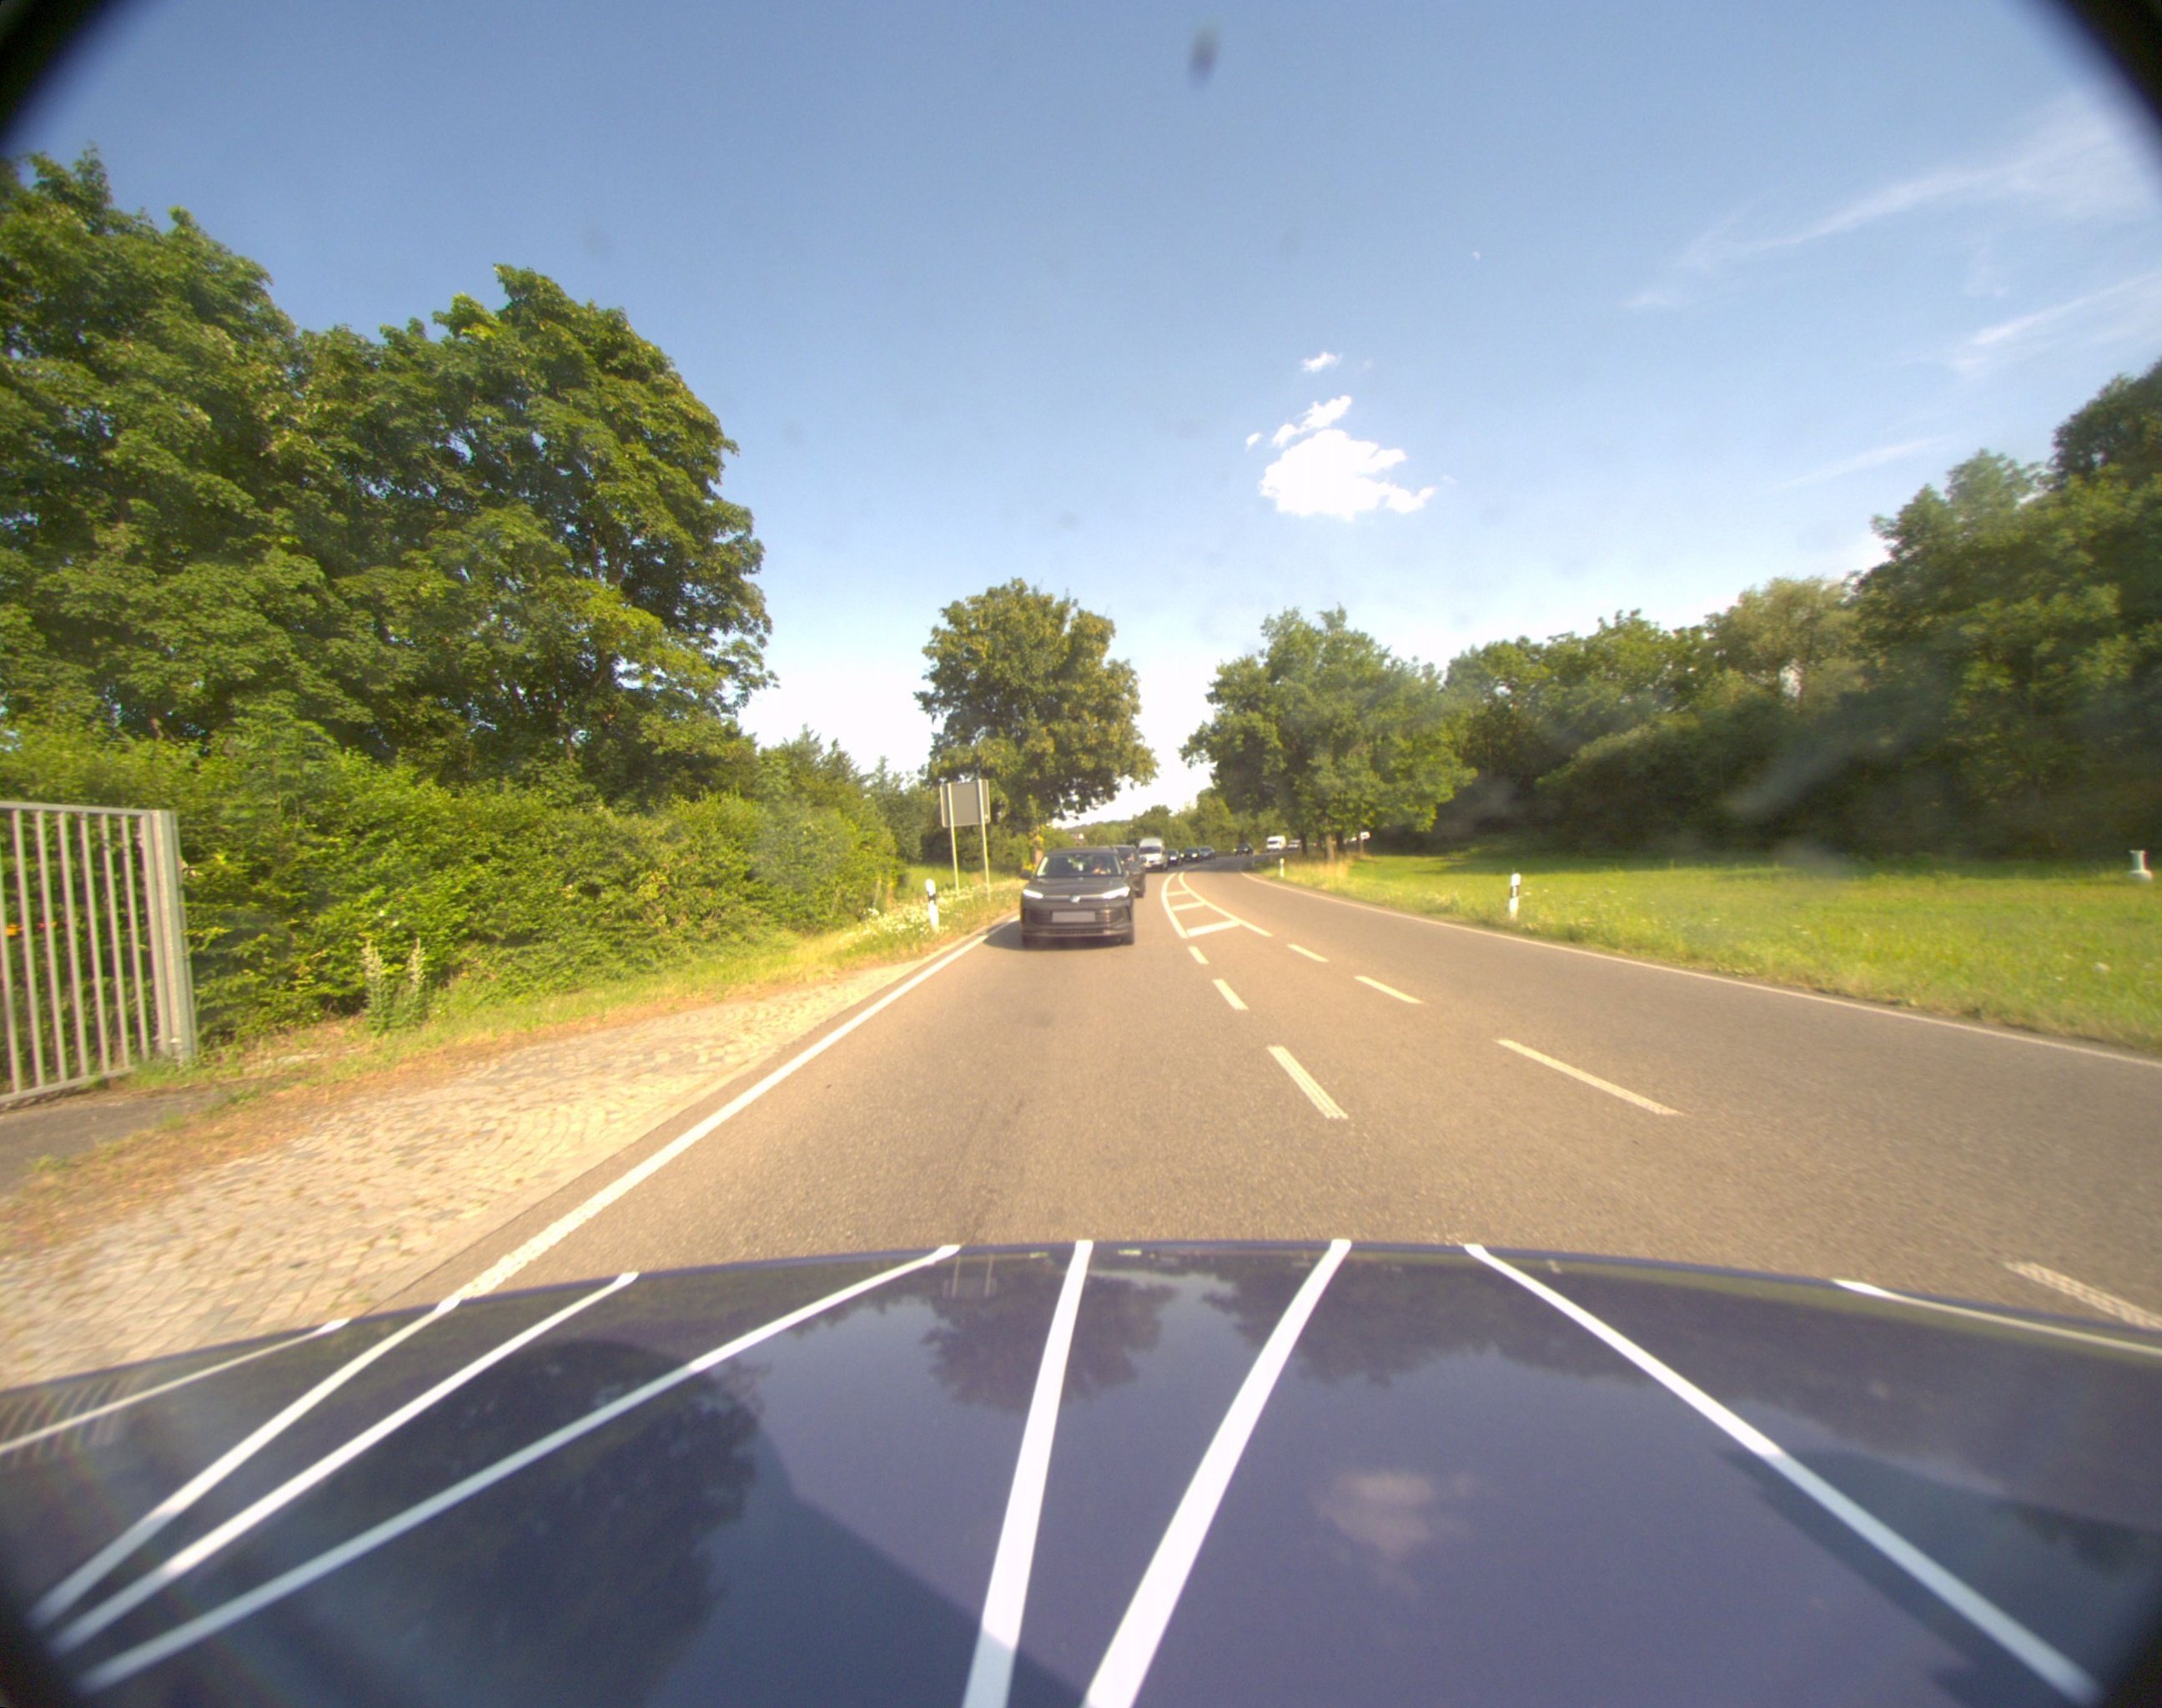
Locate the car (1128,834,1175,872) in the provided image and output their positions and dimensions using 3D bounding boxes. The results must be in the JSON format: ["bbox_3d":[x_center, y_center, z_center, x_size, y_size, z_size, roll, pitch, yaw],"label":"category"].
[{"bbox_3d":[4.907,-0.131,52.181,2.086,2.403,5.147,-2,1,17],"label":"car"}]

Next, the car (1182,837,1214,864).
[{"bbox_3d":[11.686,-0.393,75.603,2.085,2.403,5.148,-2,1,21],"label":"car"}]

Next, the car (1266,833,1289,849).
[{"bbox_3d":[31.741,-2.146,122.551,2.084,2.403,5.151,-1,2,32],"label":"car"}]

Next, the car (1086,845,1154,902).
[{"bbox_3d":[1.427,0.592,26.070,1.921,1.719,4.703,-2,0,7],"label":"car"}]

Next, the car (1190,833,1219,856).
[{"bbox_3d":[13.923,-1.059,85.346,2.085,2.403,5.148,-2,1,21],"label":"car"}]

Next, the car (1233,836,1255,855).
[{"bbox_3d":[21.880,-1.134,102.035,2.085,2.403,5.148,-2,1,21],"label":"car"}]

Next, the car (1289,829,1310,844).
[{"bbox_3d":[38.509,-3.092,133.677,2.084,2.403,5.151,-1,2,32],"label":"car"}]

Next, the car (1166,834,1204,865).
[{"bbox_3d":[8.914,-0.412,64.705,2.085,2.403,5.148,-2,1,21],"label":"car"}]

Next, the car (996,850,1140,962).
[{"bbox_3d":[-0.018,0.779,13.815,1.921,1.612,4.703,-2,0,7],"label":"car"}]

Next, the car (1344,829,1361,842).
[{"bbox_3d":[54.133,-3.762,151.487,2.084,2.403,5.151,-1,2,32],"label":"car"}]
